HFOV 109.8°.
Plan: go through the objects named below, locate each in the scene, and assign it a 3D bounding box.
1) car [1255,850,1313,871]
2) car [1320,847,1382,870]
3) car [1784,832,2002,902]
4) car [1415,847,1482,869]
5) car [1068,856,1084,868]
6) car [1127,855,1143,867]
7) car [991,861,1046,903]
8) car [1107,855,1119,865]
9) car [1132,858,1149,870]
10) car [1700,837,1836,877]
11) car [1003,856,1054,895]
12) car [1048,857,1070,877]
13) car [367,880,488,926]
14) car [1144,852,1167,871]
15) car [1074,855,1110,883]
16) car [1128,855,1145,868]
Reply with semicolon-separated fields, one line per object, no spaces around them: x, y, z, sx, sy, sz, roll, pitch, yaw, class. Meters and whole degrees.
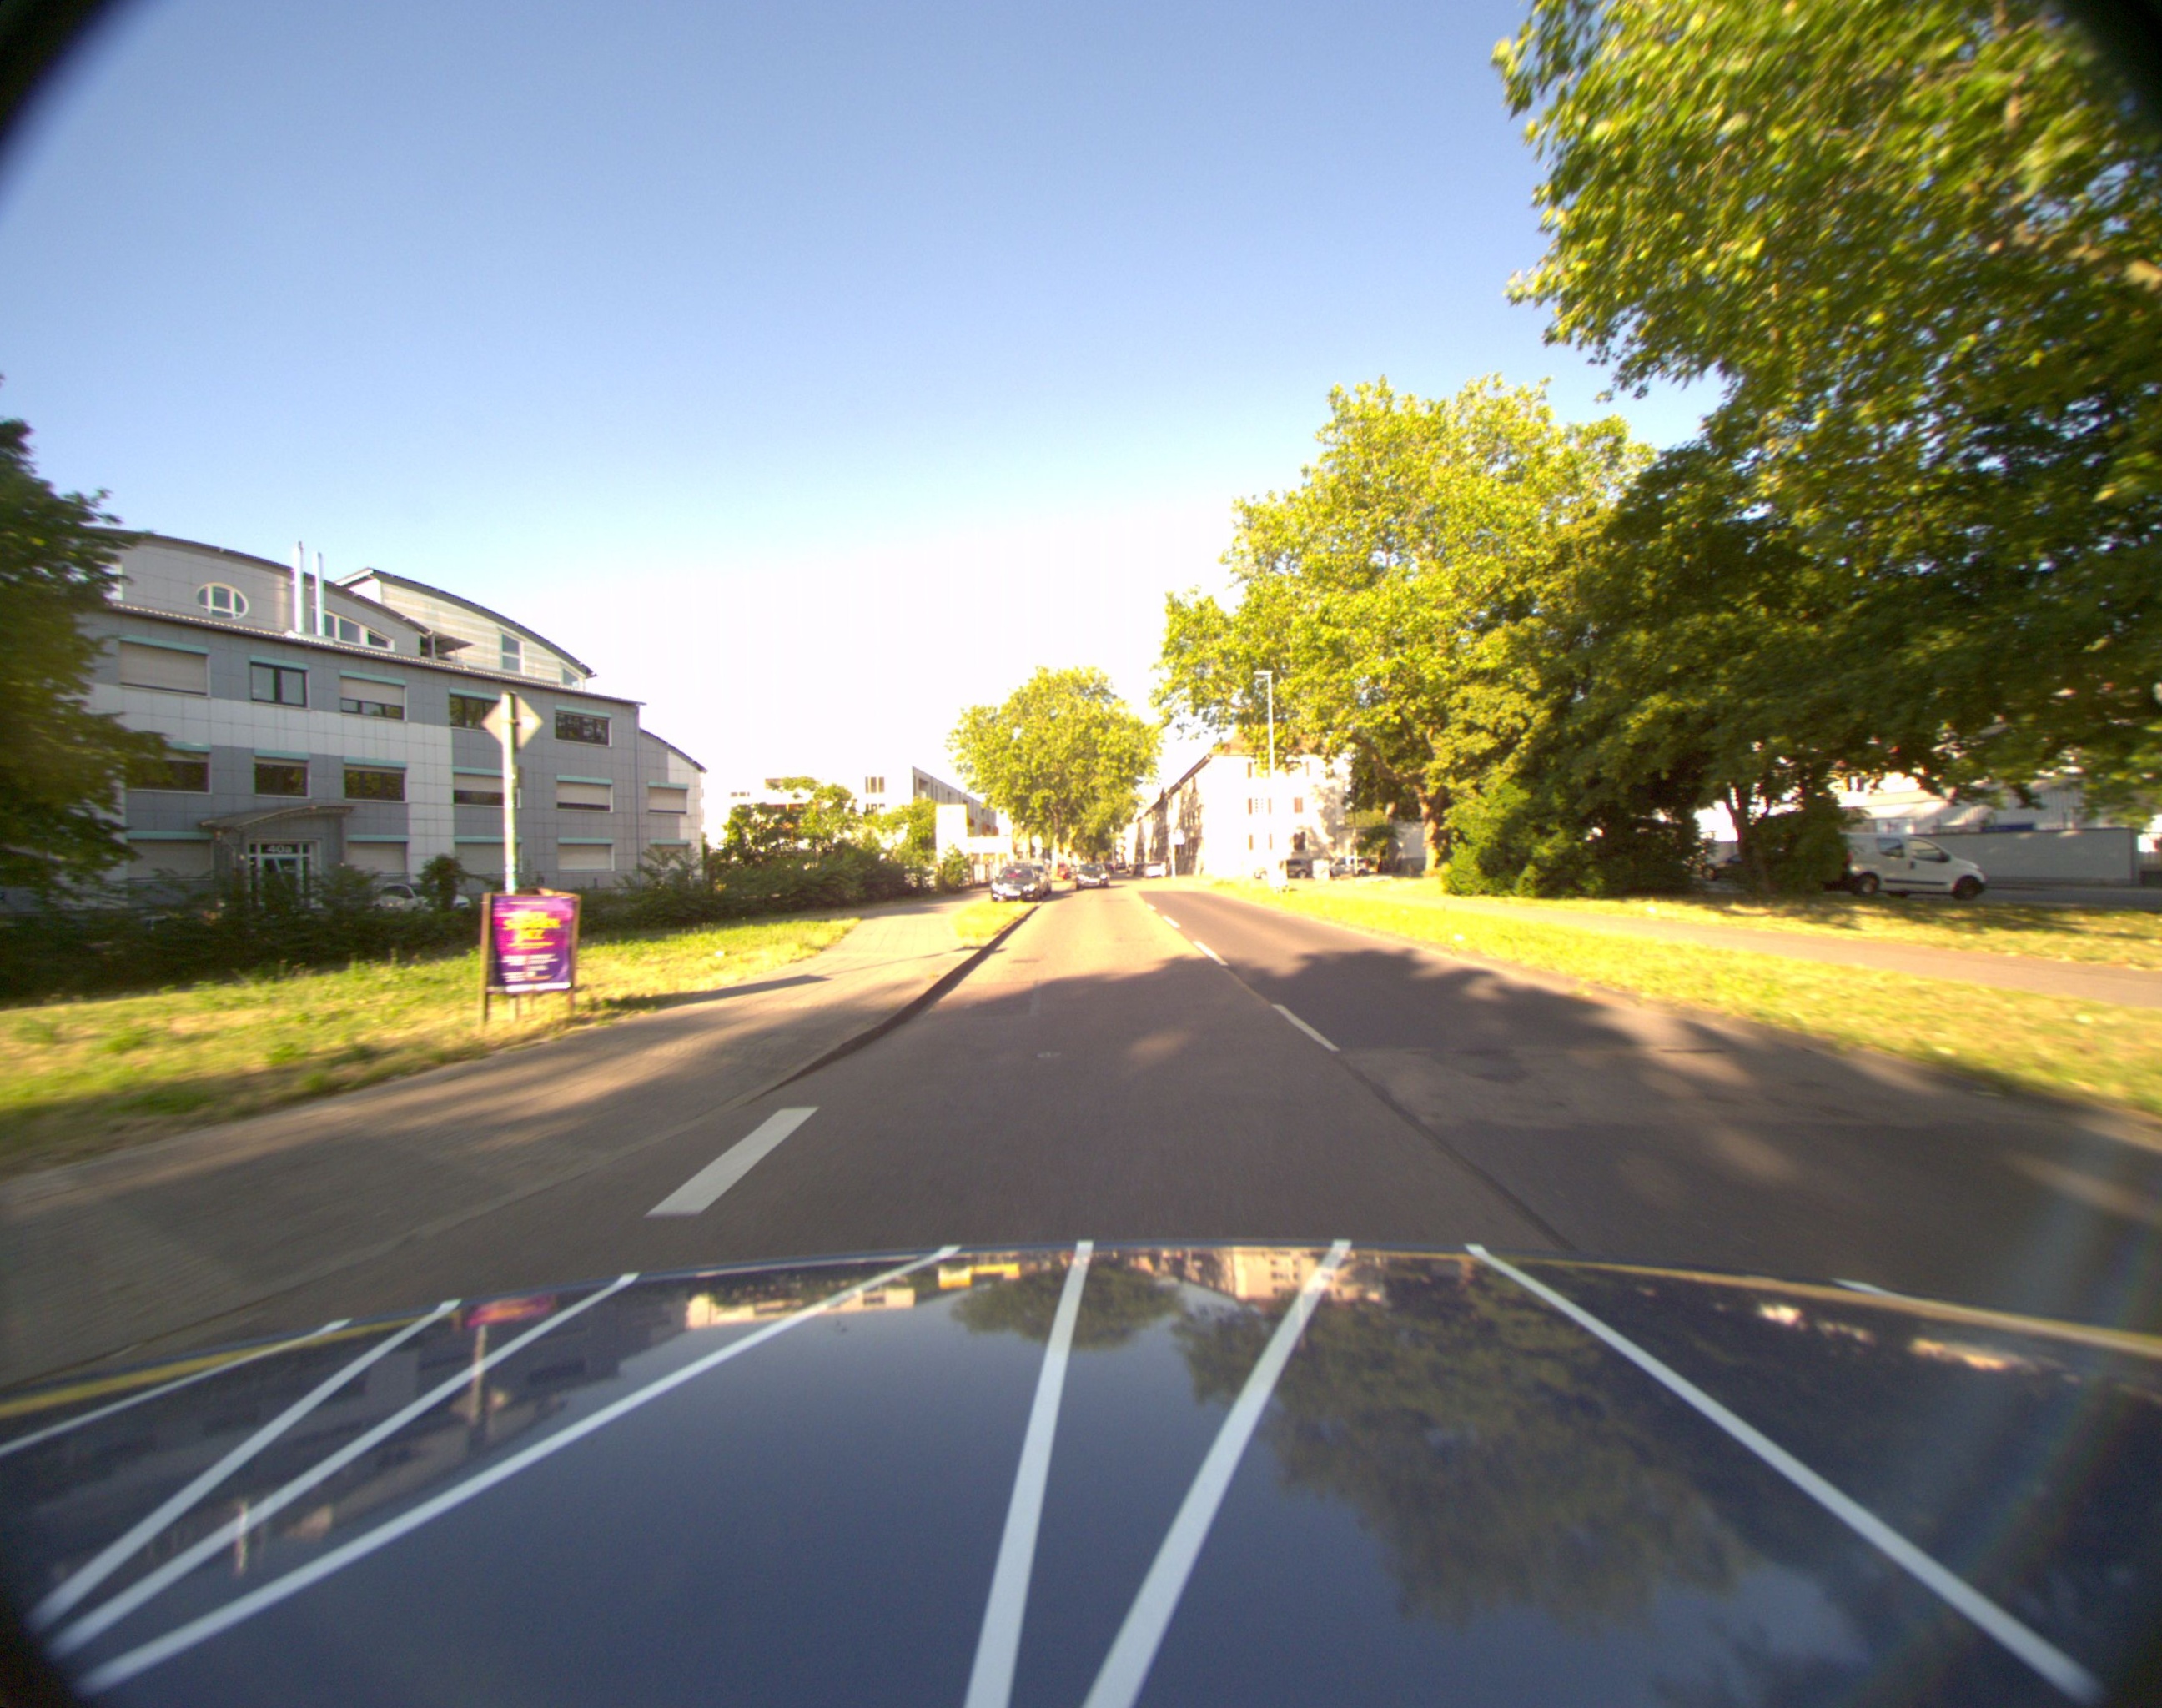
14.942;0.489;56.077;3.993;1.410;1.916;-1;1;13;car
19.454;0.308;54.937;3.993;1.552;1.866;-1;1;13;car
21.114;0.314;19.855;3.998;1.674;1.727;-1;0;-3;car
25.820;0.275;53.507;3.993;1.552;1.866;0;0;13;car
-0.654;1.055;101.511;1.869;1.603;4.087;0;0;2;car
7.584;0.960;107.555;1.870;1.603;4.086;-2;0;-1;car
-2.474;1.079;30.949;1.786;1.506;4.689;0;0;1;car
5.199;0.921;124.584;1.901;1.581;4.069;-1;0;0;car
7.672;1.301;97.922;1.870;1.475;4.087;-3;0;0;car
29.007;0.135;32.305;1.863;1.552;4.359;-1;0;0;car
-2.422;0.961;36.303;1.998;1.749;4.917;0;0;1;car
-1.891;1.076;66.500;1.602;1.679;4.337;-1;0;2;car
-25.062;1.829;29.160;3.990;1.565;1.912;0;1;23;car
6.492;0.664;66.542;1.765;1.475;4.109;-3;0;3;car
0.566;0.800;42.875;1.870;1.471;4.086;-2;0;-1;car
6.701;0.868;91.627;1.869;1.475;4.087;-4;0;3;car
